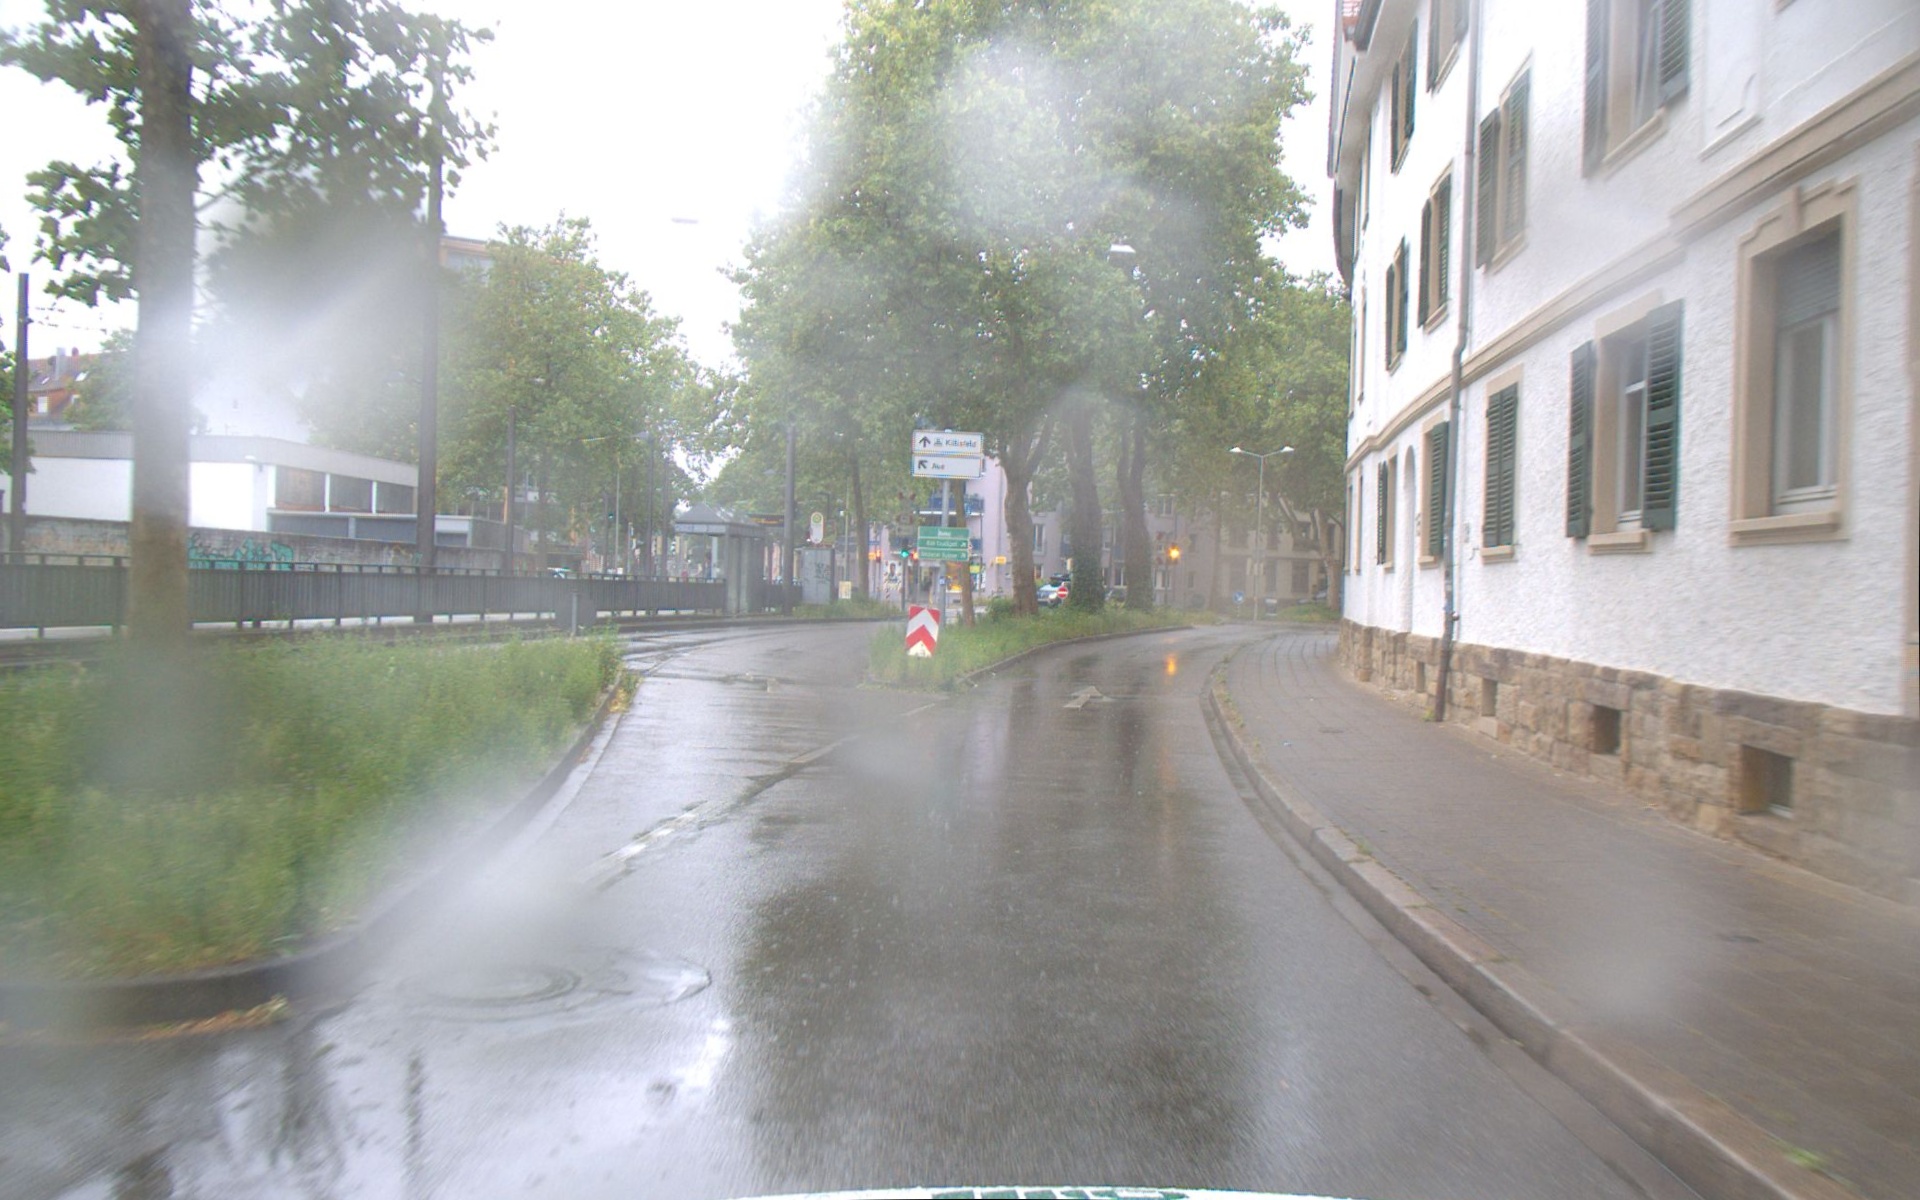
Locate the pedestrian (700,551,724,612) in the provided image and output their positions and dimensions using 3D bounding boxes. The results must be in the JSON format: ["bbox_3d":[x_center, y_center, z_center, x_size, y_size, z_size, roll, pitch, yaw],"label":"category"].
[{"bbox_3d":[-7.191,-0.522,47.948,0.573,1.761,0.564,0,0,-25],"label":"pedestrian"}]

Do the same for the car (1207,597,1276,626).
[{"bbox_3d":[15.203,0.620,89.444,3.411,1.550,1.518,0,0,26],"label":"car"}]

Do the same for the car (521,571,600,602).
[{"bbox_3d":[-21.834,-0.733,90.416,3.931,1.680,1.969,0,0,30],"label":"car"}]

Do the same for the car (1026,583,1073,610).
[{"bbox_3d":[5.373,-0.195,98.683,1.690,1.579,3.558,0,0,23],"label":"car"}]
